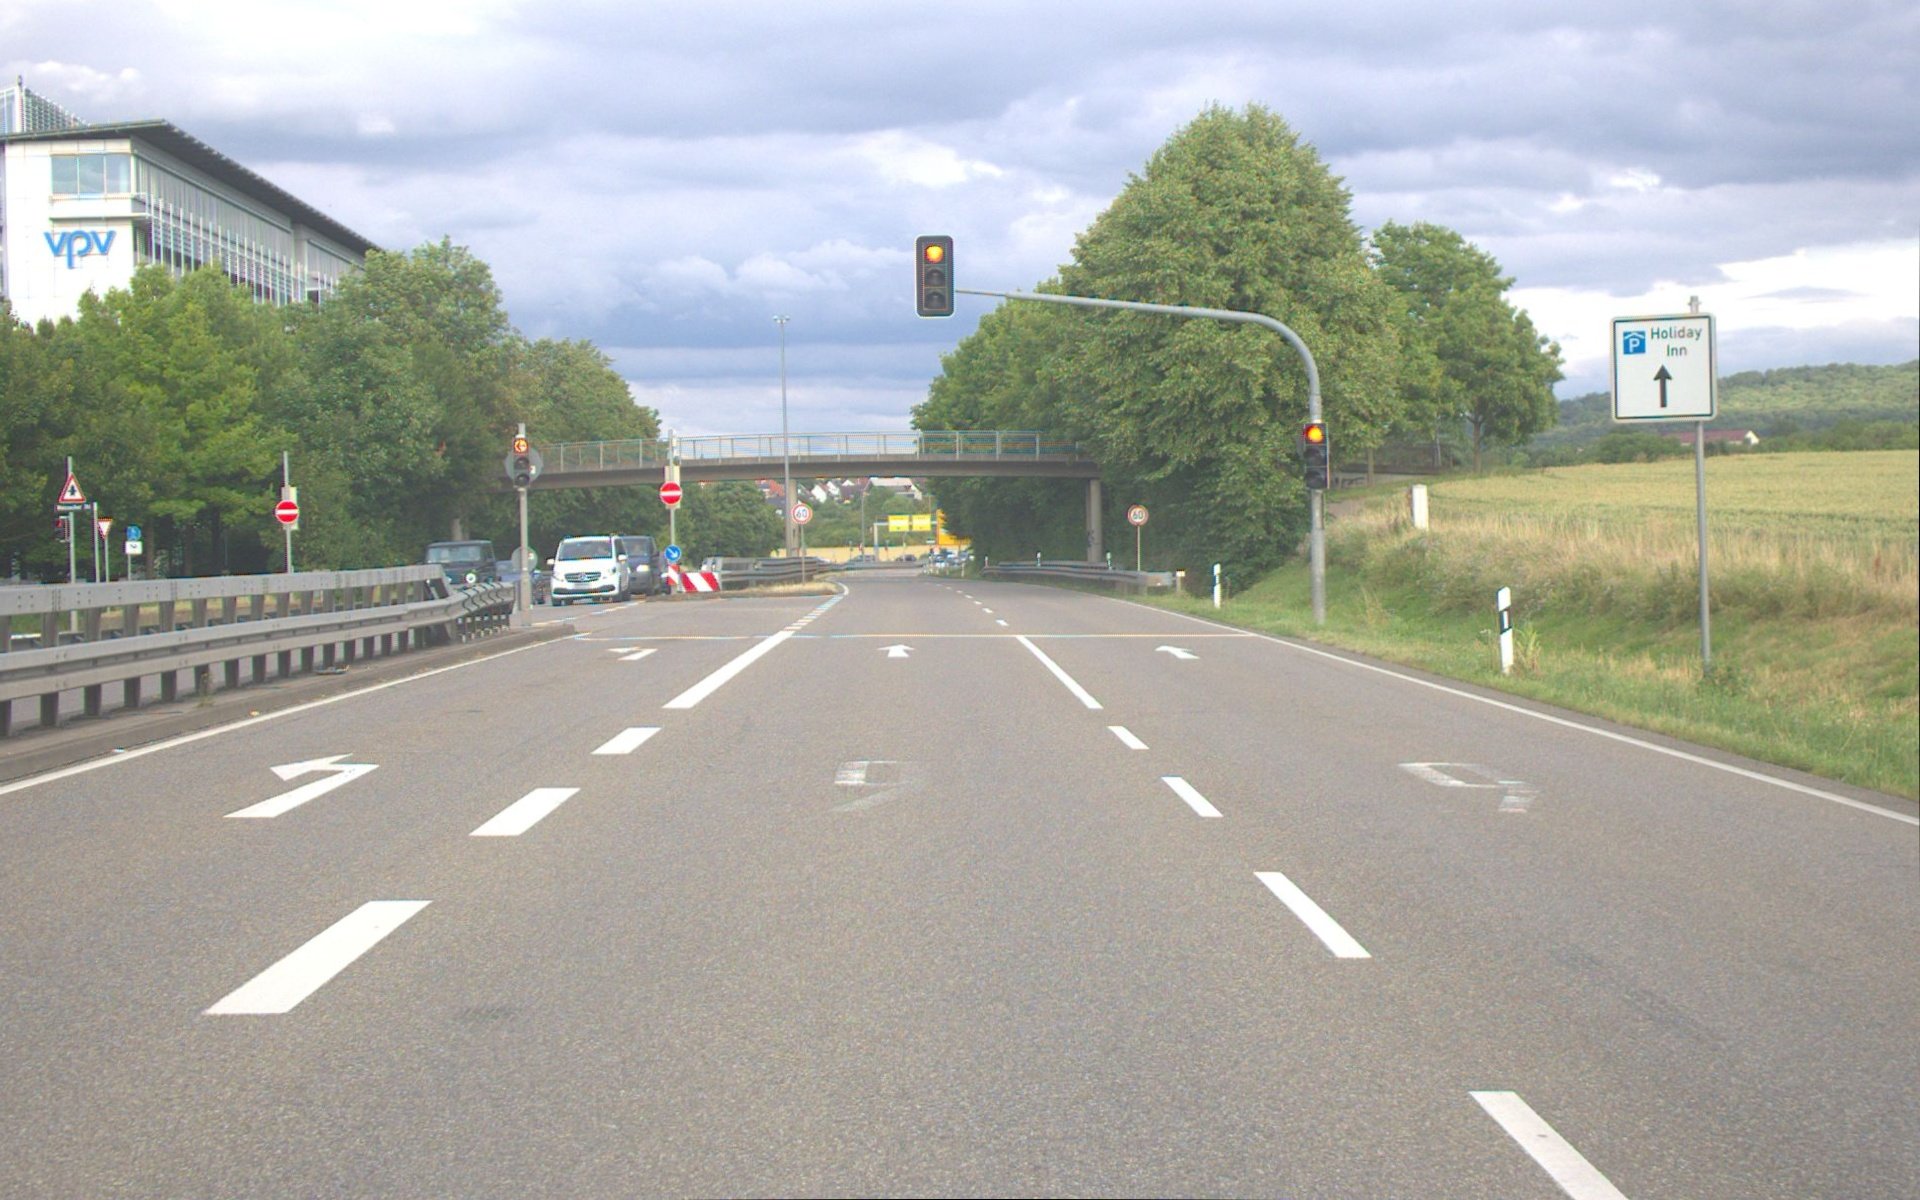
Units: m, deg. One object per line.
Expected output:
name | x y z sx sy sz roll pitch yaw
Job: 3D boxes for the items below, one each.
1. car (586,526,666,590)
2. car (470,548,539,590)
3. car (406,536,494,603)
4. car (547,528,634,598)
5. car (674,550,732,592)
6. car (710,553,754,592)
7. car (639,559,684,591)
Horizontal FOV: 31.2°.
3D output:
car | -10.173 -1.304 105.016 1.993 1.867 4.737 -1 2 -1
car | -13.701 -0.935 103.524 1.613 1.174 3.457 -1 2 -1
car | -14.242 -0.875 96.246 1.868 1.748 4.049 -1 2 -1
car | -10.334 -1.064 96.460 1.948 1.867 4.737 -1 2 -1
car | -7.041 -0.813 94.478 1.358 1.088 2.922 -1 2 0
car | -7.561 -0.933 114.170 1.312 1.225 2.922 -1 2 -2
car | -9.972 -0.839 114.950 1.312 0.984 2.922 -1 2 -2
